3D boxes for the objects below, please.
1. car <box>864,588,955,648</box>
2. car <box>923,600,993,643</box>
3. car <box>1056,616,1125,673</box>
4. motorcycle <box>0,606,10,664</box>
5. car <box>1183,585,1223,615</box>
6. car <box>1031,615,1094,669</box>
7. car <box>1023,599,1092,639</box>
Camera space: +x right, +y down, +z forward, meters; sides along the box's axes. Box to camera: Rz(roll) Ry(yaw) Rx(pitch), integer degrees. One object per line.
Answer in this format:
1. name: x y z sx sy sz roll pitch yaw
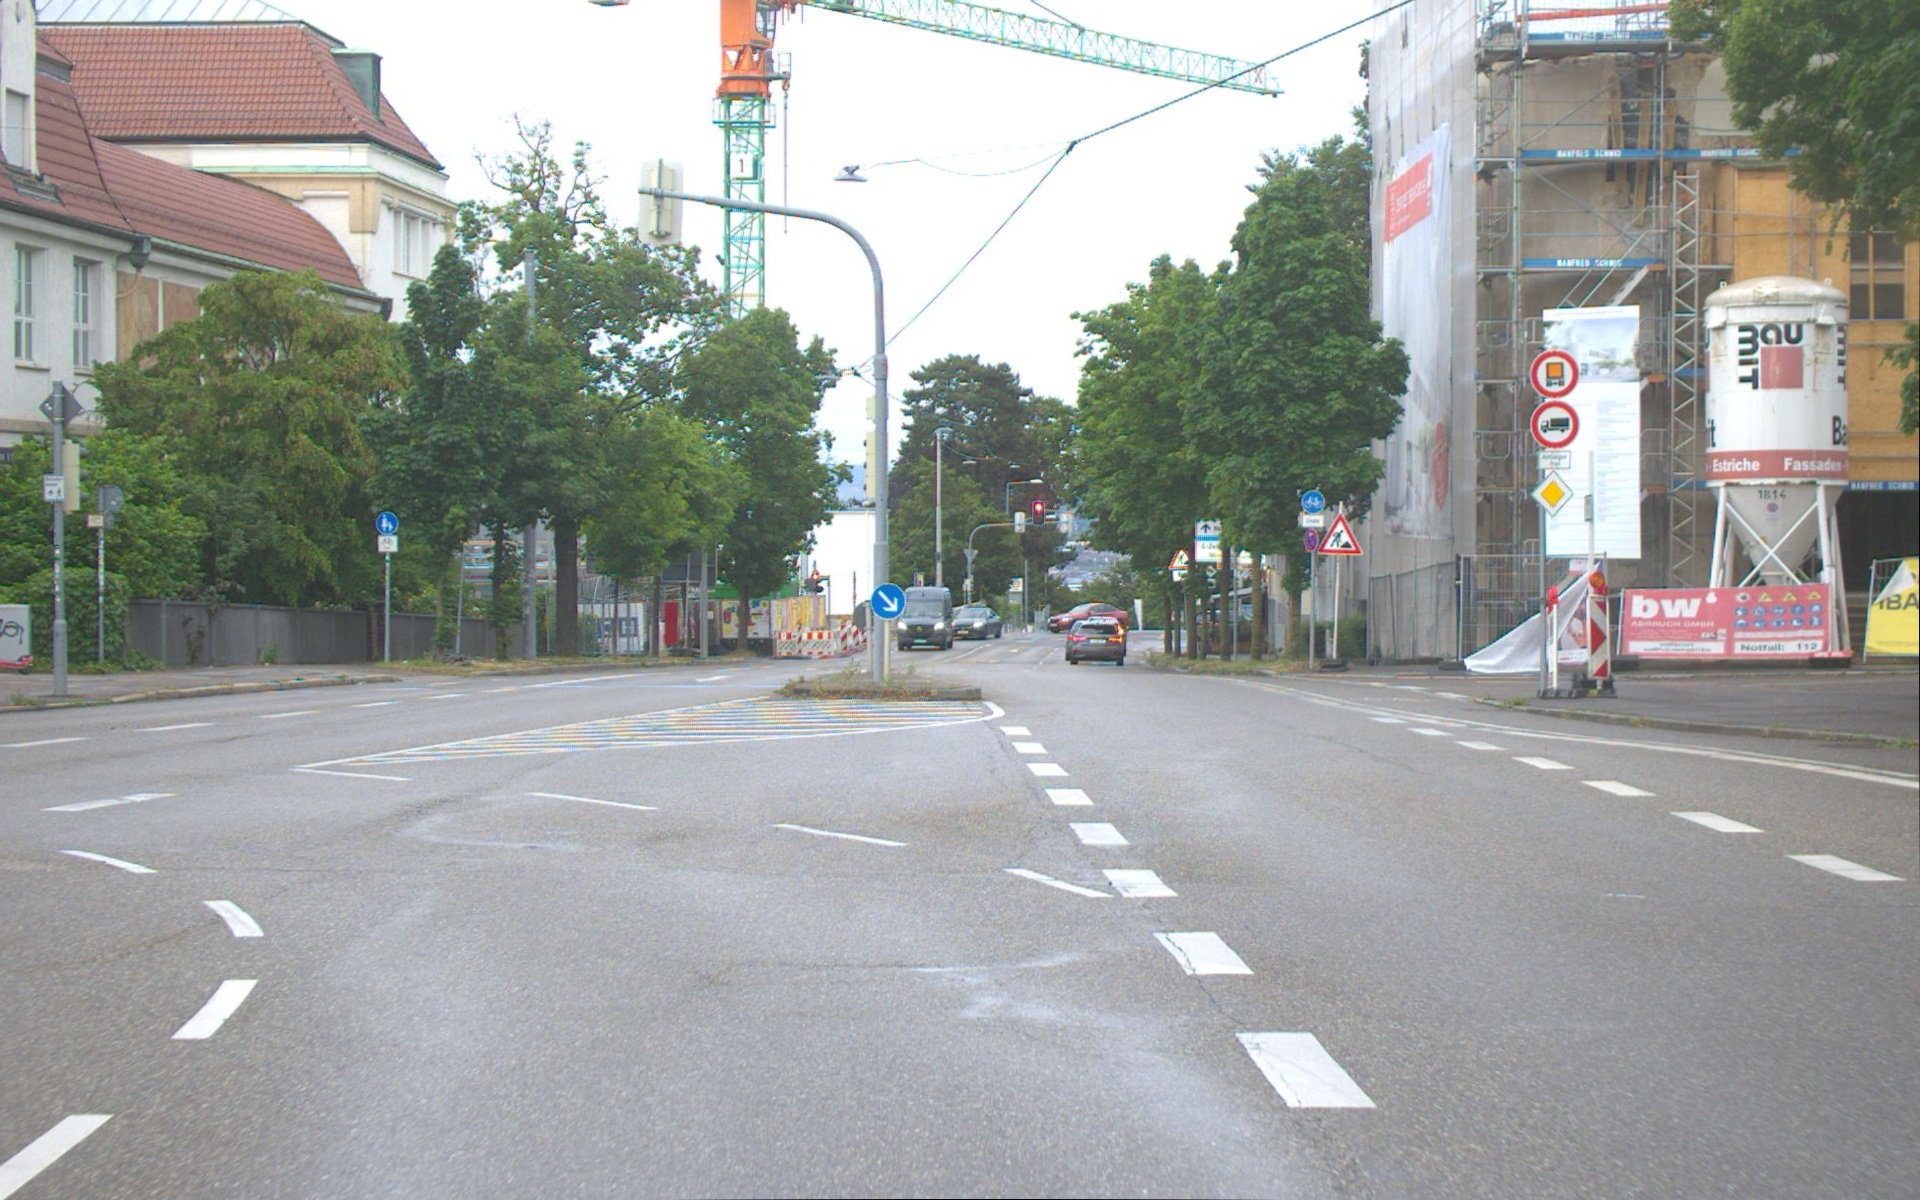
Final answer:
1. car: -2.080 0.723 143.388 2.849 2.394 6.186 1 1 8
2. car: -0.085 0.959 158.611 1.995 1.875 3.996 0 1 20
3. car: 4.256 1.434 112.337 1.993 1.744 4.000 -1 1 -1
4. motorcycle: -14.917 0.529 52.011 0.849 0.874 0.877 1 1 -1
5. car: 14.601 -0.021 206.526 1.994 1.744 3.998 0 1 10
6. car: 3.596 1.464 121.166 1.993 1.744 4.000 -1 1 -1
7. car: 4.825 0.903 169.754 1.996 1.875 3.995 0 1 24
